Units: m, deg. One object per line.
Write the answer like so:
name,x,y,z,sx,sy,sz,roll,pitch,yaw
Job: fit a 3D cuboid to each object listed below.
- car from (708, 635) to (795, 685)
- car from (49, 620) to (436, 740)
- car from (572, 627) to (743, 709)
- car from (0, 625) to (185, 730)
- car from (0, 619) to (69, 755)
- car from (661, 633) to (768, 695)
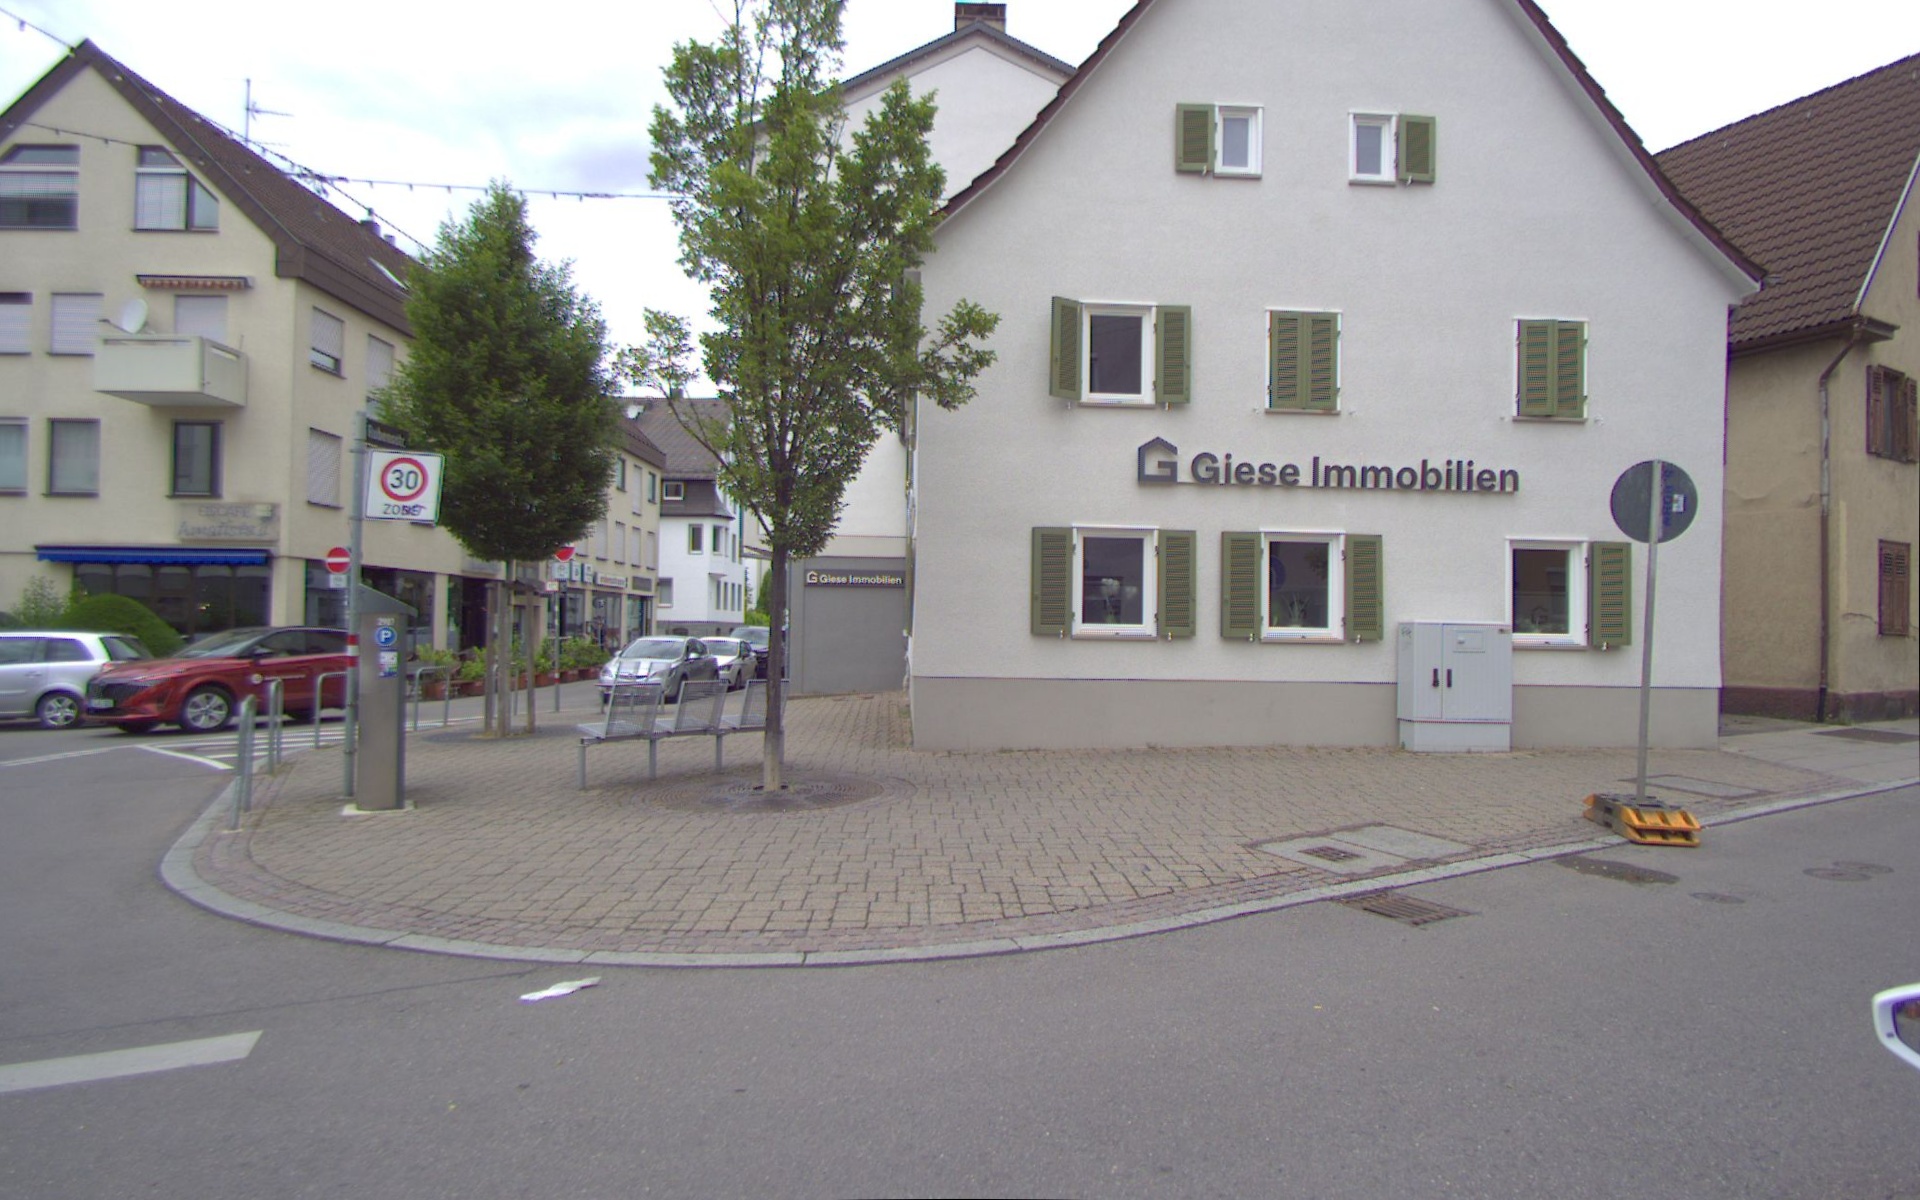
car,-6.742,1.903,32.945,1.982,1.385,4.387,1,0,-1
car,-11.428,1.159,16.522,1.982,1.578,4.918,1,0,20
car,-6.769,1.462,23.132,1.980,1.578,4.921,1,0,6
car,-15.780,1.247,16.621,4.266,1.661,1.989,1,-2,-23
car,-12.588,1.012,10.363,1.980,1.578,4.922,1,0,9
car,-6.814,1.749,28.337,1.982,1.477,4.387,1,0,-1
